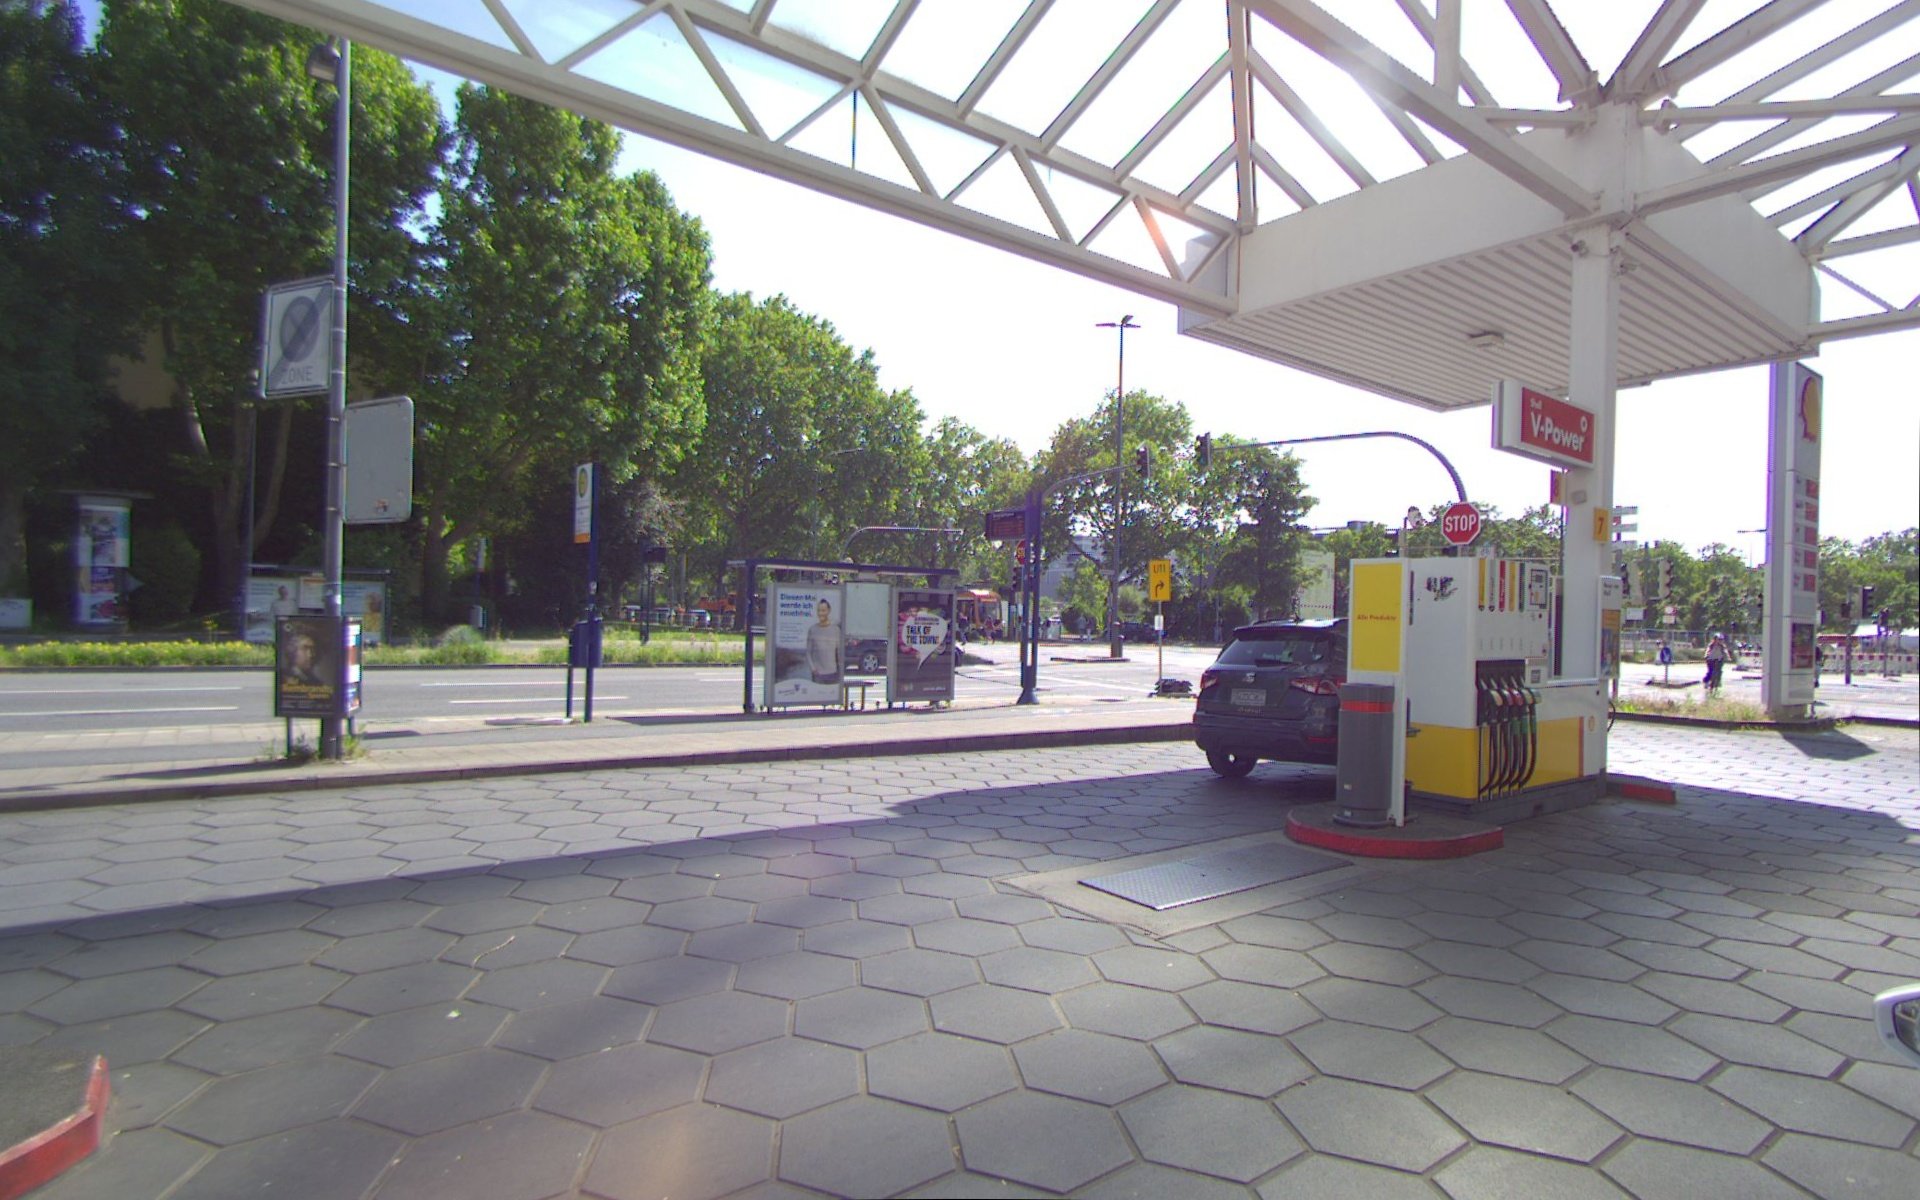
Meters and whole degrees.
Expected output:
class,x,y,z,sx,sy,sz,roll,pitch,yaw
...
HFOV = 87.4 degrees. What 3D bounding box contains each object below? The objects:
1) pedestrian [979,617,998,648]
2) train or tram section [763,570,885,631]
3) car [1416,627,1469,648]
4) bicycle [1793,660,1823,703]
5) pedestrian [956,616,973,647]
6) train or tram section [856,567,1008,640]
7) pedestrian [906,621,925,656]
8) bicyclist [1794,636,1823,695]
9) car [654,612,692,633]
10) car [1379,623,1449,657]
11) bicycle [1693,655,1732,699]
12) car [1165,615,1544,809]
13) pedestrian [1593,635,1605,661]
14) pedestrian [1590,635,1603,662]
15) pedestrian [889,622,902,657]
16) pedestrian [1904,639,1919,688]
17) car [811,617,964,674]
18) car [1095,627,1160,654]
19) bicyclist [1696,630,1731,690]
class,x,y,z,sx,sy,sz,roll,pitch,yaw
pedestrian,1.619,1.830,56.589,0.677,1.745,0.866,-1,-3,42
train or tram section,-11.469,0.041,82.262,2.307,4.549,15.756,3,-1,-37
car,44.200,3.411,92.143,1.979,1.839,3.965,2,-3,-32
bicycle,23.324,2.212,27.613,0.517,1.096,1.857,1,-1,43
pedestrian,0.240,1.729,54.913,0.780,1.696,0.555,3,-3,-41
train or tram section,-2.350,0.220,70.082,2.307,4.549,14.785,3,-1,-37
pedestrian,-2.432,2.128,55.172,0.759,1.881,0.723,0,-3,31
bicyclist,23.373,1.800,27.662,0.527,1.564,0.860,2,-1,44
car,-24.235,1.908,84.677,1.851,1.711,3.961,3,-3,-35
car,28.585,2.520,63.205,4.399,2.040,1.982,3,-3,-33
bicycle,21.075,2.135,28.125,0.631,1.096,2.014,1,1,43
car,4.012,0.986,9.946,3.965,1.552,1.730,3,-2,-38
pedestrian,37.224,2.793,58.515,0.555,1.488,0.513,1,0,28
pedestrian,36.626,2.775,57.803,0.555,1.488,0.513,1,0,29
pedestrian,-3.841,2.366,60.101,0.692,2.013,0.740,1,-2,-7
pedestrian,30.731,2.029,32.122,0.497,1.561,0.648,2,0,-28
car,-1.988,1.268,27.978,3.966,1.385,1.667,3,1,-38
car,11.931,2.858,71.534,4.144,1.829,1.993,-1,-3,37
bicyclist,21.045,1.665,28.062,0.631,1.601,1.166,1,1,44
